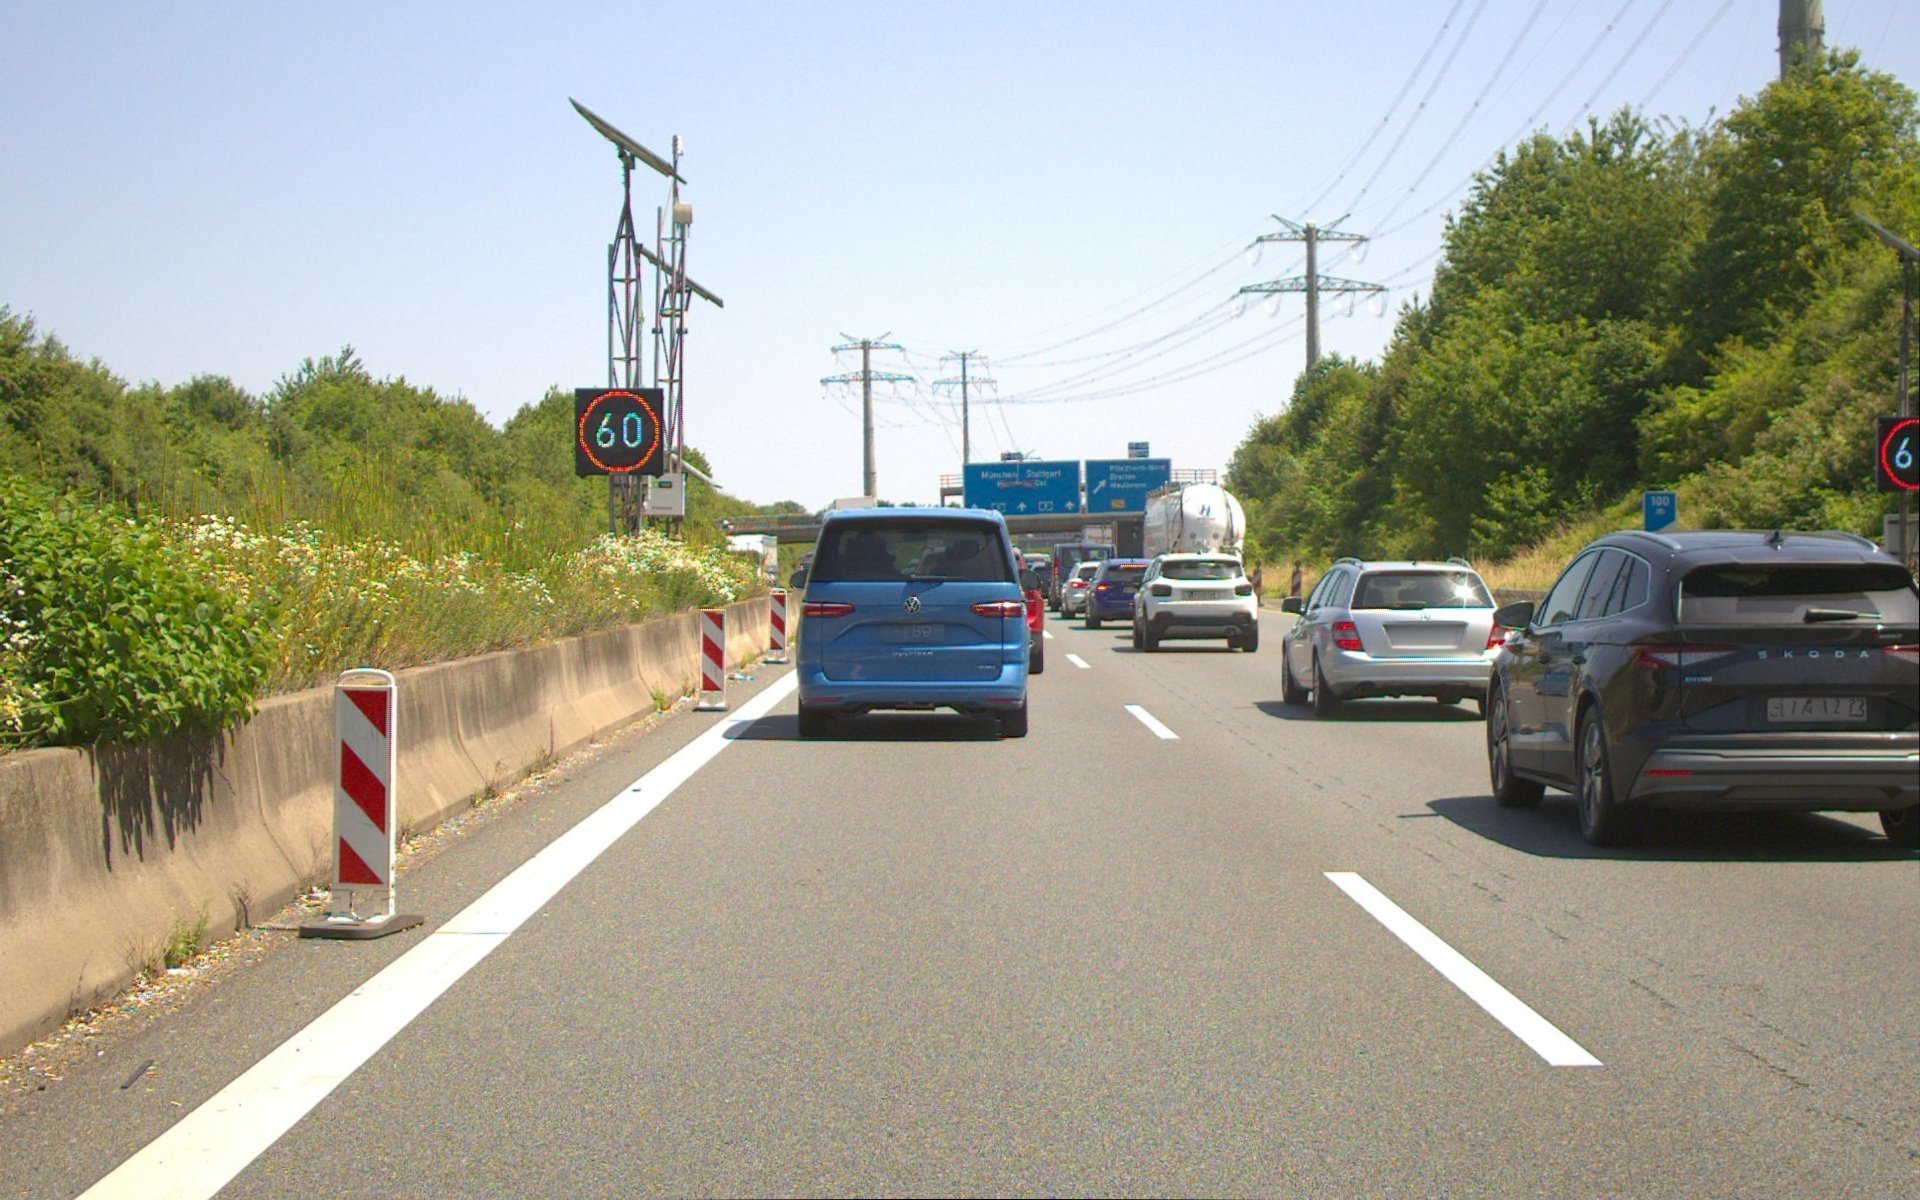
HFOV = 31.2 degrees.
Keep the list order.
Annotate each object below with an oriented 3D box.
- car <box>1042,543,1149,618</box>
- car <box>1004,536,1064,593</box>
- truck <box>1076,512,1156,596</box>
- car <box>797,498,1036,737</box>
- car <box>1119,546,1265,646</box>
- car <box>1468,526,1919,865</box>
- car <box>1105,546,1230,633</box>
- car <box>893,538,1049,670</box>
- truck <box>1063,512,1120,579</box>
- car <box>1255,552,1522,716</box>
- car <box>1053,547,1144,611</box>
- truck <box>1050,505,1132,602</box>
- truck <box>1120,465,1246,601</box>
[{"bbox_3d":[2.818,-0.427,72.273,1.908,1.511,4.384,1,1,-2],"label":"car"},{"bbox_3d":[2.700,-1.307,126.073,1.993,2.007,4.000,1,1,-1],"label":"car"},{"bbox_3d":[6.806,-2.057,151.800,2.644,3.526,12.553,1,1,-1],"label":"truck"},{"bbox_3d":[-0.430,0.108,29.400,1.871,1.872,4.384,1,1,-2],"label":"car"},{"bbox_3d":[3.646,-0.088,54.620,1.908,1.503,3.922,1,1,-2],"label":"car"},{"bbox_3d":[4.030,0.413,18.566,1.828,1.609,4.431,0,1,-1],"label":"car"},{"bbox_3d":[3.859,-0.227,64.666,1.908,1.564,4.384,1,1,-2],"label":"car"},{"bbox_3d":[0.088,0.016,44.518,1.908,1.625,4.384,0,1,-1],"label":"car"},{"bbox_3d":[8.537,-3.567,225.146,2.938,4.276,12.553,1,1,-1],"label":"truck"},{"bbox_3d":[3.984,0.271,32.659,1.821,1.432,4.384,1,1,-2],"label":"car"},{"bbox_3d":[3.406,-0.543,85.104,1.908,1.511,4.384,1,1,-2],"label":"car"},{"bbox_3d":[3.777,-1.346,99.980,1.993,2.714,5.680,1,1,-1],"label":"truck"},{"bbox_3d":[7.091,-2.121,111.525,2.644,4.058,16.442,1,1,-1],"label":"truck"}]
